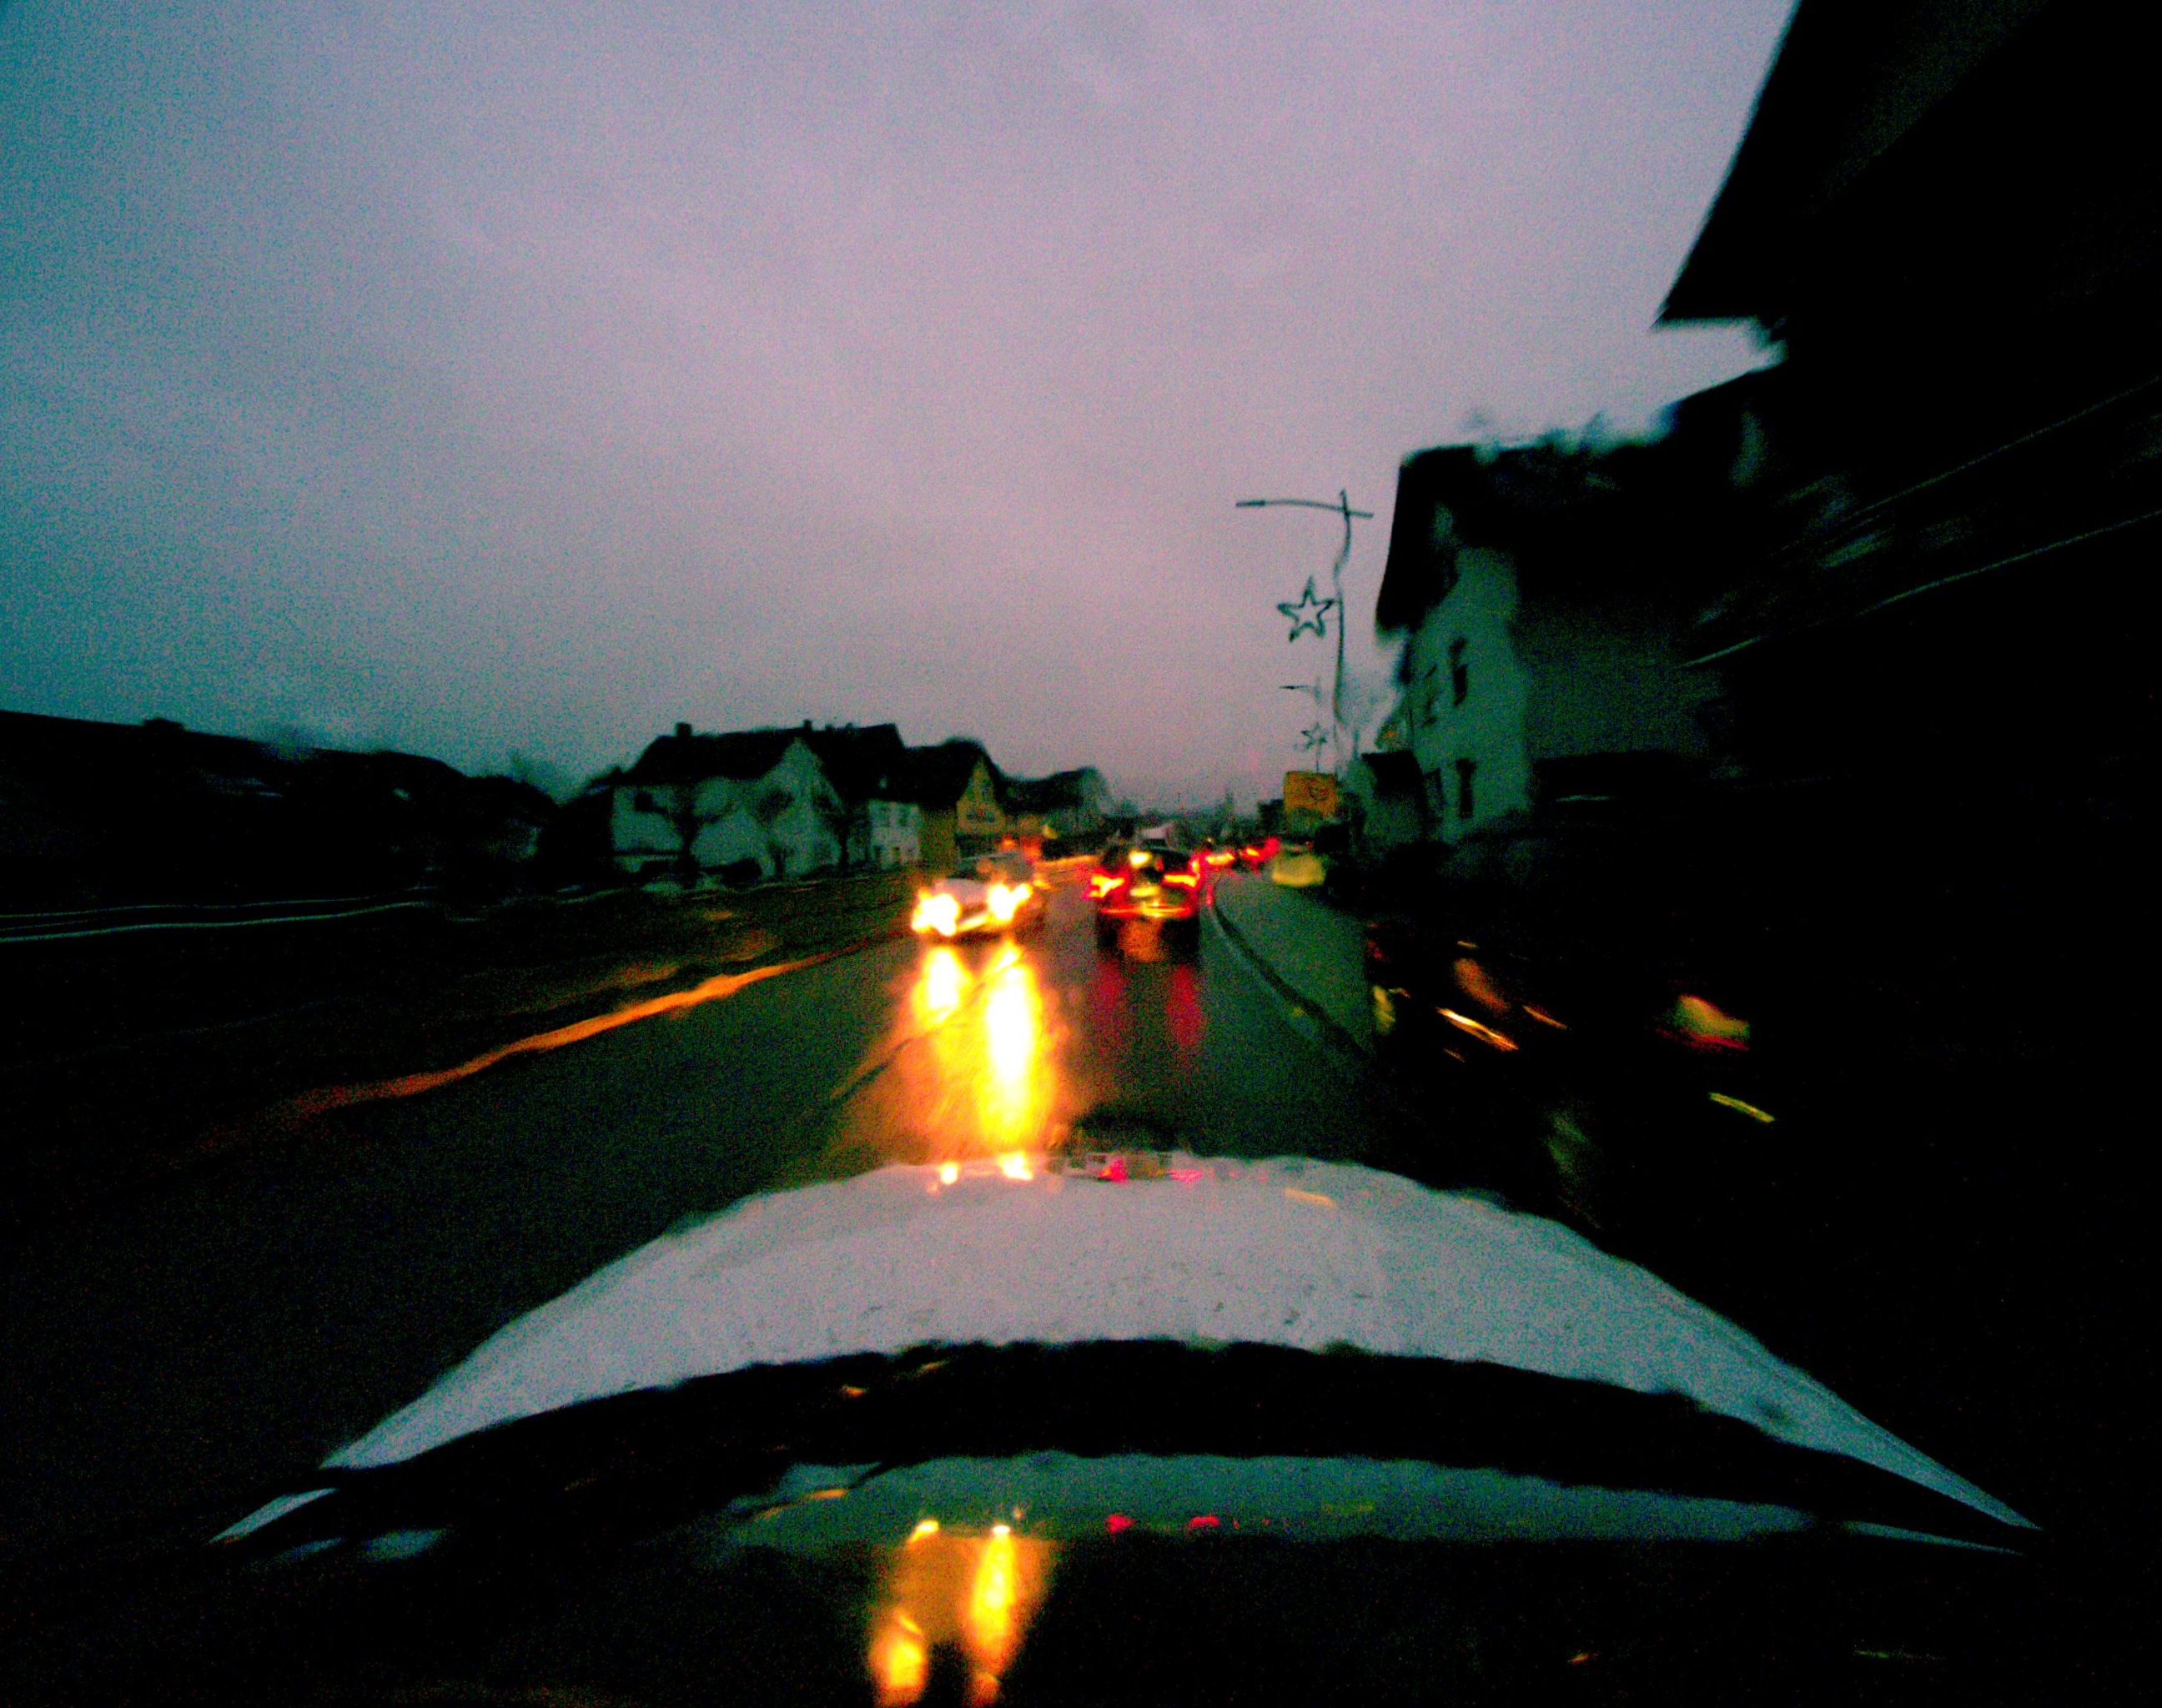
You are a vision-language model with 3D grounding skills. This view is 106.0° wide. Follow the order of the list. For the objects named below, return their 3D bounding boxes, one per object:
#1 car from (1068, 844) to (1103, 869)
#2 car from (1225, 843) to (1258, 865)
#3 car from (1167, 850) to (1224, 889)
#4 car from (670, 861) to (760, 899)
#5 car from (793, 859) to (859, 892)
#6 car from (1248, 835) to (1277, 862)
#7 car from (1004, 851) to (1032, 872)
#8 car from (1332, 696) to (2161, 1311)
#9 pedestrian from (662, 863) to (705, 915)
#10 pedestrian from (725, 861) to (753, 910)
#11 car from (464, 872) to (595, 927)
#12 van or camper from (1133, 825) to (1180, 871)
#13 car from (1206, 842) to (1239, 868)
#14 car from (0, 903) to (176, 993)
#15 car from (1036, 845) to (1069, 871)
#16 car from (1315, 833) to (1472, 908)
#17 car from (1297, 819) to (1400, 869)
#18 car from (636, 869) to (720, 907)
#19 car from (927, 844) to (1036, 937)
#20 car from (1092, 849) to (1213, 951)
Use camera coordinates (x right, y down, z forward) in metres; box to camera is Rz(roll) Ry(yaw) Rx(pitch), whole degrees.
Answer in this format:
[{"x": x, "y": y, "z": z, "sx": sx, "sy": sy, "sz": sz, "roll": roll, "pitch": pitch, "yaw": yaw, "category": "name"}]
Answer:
[{"x": 0.347, "y": 0.195, "z": 67.287, "sx": 2.038, "sy": 1.925, "sz": 4.041, "roll": -3, "pitch": 0, "yaw": -11, "category": "car"}, {"x": 11.574, "y": -0.033, "z": 58.532, "sx": 1.978, "sy": 1.391, "sz": 4.017, "roll": -3, "pitch": 0, "yaw": 16, "category": "car"}, {"x": 4.669, "y": 0.583, "z": 32.882, "sx": 1.669, "sy": 1.453, "sz": 4.017, "roll": -1, "pitch": 0, "yaw": 16, "category": "car"}, {"x": -19.778, "y": 1.395, "z": 44.102, "sx": 3.965, "sy": 1.694, "sz": 1.868, "roll": -4, "pitch": 0, "yaw": 7, "category": "car"}, {"x": -15.040, "y": 1.250, "z": 48.251, "sx": 1.899, "sy": 1.682, "sz": 4.229, "roll": -3, "pitch": 0, "yaw": 10, "category": "car"}, {"x": 15.192, "y": -0.431, "z": 68.292, "sx": 2.143, "sy": 1.991, "sz": 4.514, "roll": -6, "pitch": -1, "yaw": 12, "category": "car"}, {"x": -5.241, "y": 0.578, "z": 67.515, "sx": 1.822, "sy": 1.613, "sz": 4.041, "roll": -3, "pitch": 0, "yaw": -11, "category": "car"}, {"x": 2.778, "y": 0.465, "z": 4.505, "sx": 1.761, "sy": 1.782, "sz": 4.007, "roll": -5, "pitch": 0, "yaw": 6, "category": "car"}, {"x": -14.140, "y": 1.244, "z": 28.979, "sx": 0.923, "sy": 1.784, "sz": 0.975, "roll": -1, "pitch": 0, "yaw": 6, "category": "pedestrian"}, {"x": -12.057, "y": 1.117, "z": 28.715, "sx": 0.659, "sy": 1.697, "sz": 0.543, "roll": -1, "pitch": 0, "yaw": 11, "category": "pedestrian"}, {"x": -18.756, "y": 1.495, "z": 27.936, "sx": 1.557, "sy": 1.580, "sz": 3.826, "roll": -4, "pitch": -1, "yaw": 5, "category": "car"}, {"x": 4.921, "y": -0.412, "z": 51.940, "sx": 2.226, "sy": 2.669, "sz": 6.575, "roll": -3, "pitch": 0, "yaw": 11, "category": "van or camper"}, {"x": 8.479, "y": 0.047, "z": 48.483, "sx": 1.802, "sy": 1.412, "sz": 4.013, "roll": -1, "pitch": 1, "yaw": 11, "category": "car"}, {"x": -20.407, "y": 1.855, "z": 15.116, "sx": 1.865, "sy": 1.433, "sz": 4.508, "roll": -4, "pitch": 0, "yaw": 5, "category": "car"}, {"x": -2.405, "y": 0.318, "z": 66.947, "sx": 2.038, "sy": 1.925, "sz": 4.041, "roll": -3, "pitch": 0, "yaw": -11, "category": "car"}, {"x": 6.891, "y": 0.344, "z": 18.427, "sx": 1.762, "sy": 1.393, "sz": 3.909, "roll": -4, "pitch": 0, "yaw": -4, "category": "car"}, {"x": 12.444, "y": -0.460, "z": 38.156, "sx": 4.153, "sy": 1.638, "sz": 1.808, "roll": -9, "pitch": -1, "yaw": 8, "category": "car"}, {"x": -17.509, "y": 1.444, "z": 35.511, "sx": 1.473, "sy": 1.427, "sz": 3.468, "roll": -2, "pitch": 0, "yaw": 10, "category": "car"}, {"x": -1.911, "y": 0.661, "z": 16.614, "sx": 1.656, "sy": 1.635, "sz": 3.552, "roll": -2, "pitch": 0, "yaw": 1, "category": "car"}, {"x": 1.236, "y": 0.751, "z": 15.588, "sx": 1.957, "sy": 1.594, "sz": 4.315, "roll": -1, "pitch": 1, "yaw": 1, "category": "car"}]
